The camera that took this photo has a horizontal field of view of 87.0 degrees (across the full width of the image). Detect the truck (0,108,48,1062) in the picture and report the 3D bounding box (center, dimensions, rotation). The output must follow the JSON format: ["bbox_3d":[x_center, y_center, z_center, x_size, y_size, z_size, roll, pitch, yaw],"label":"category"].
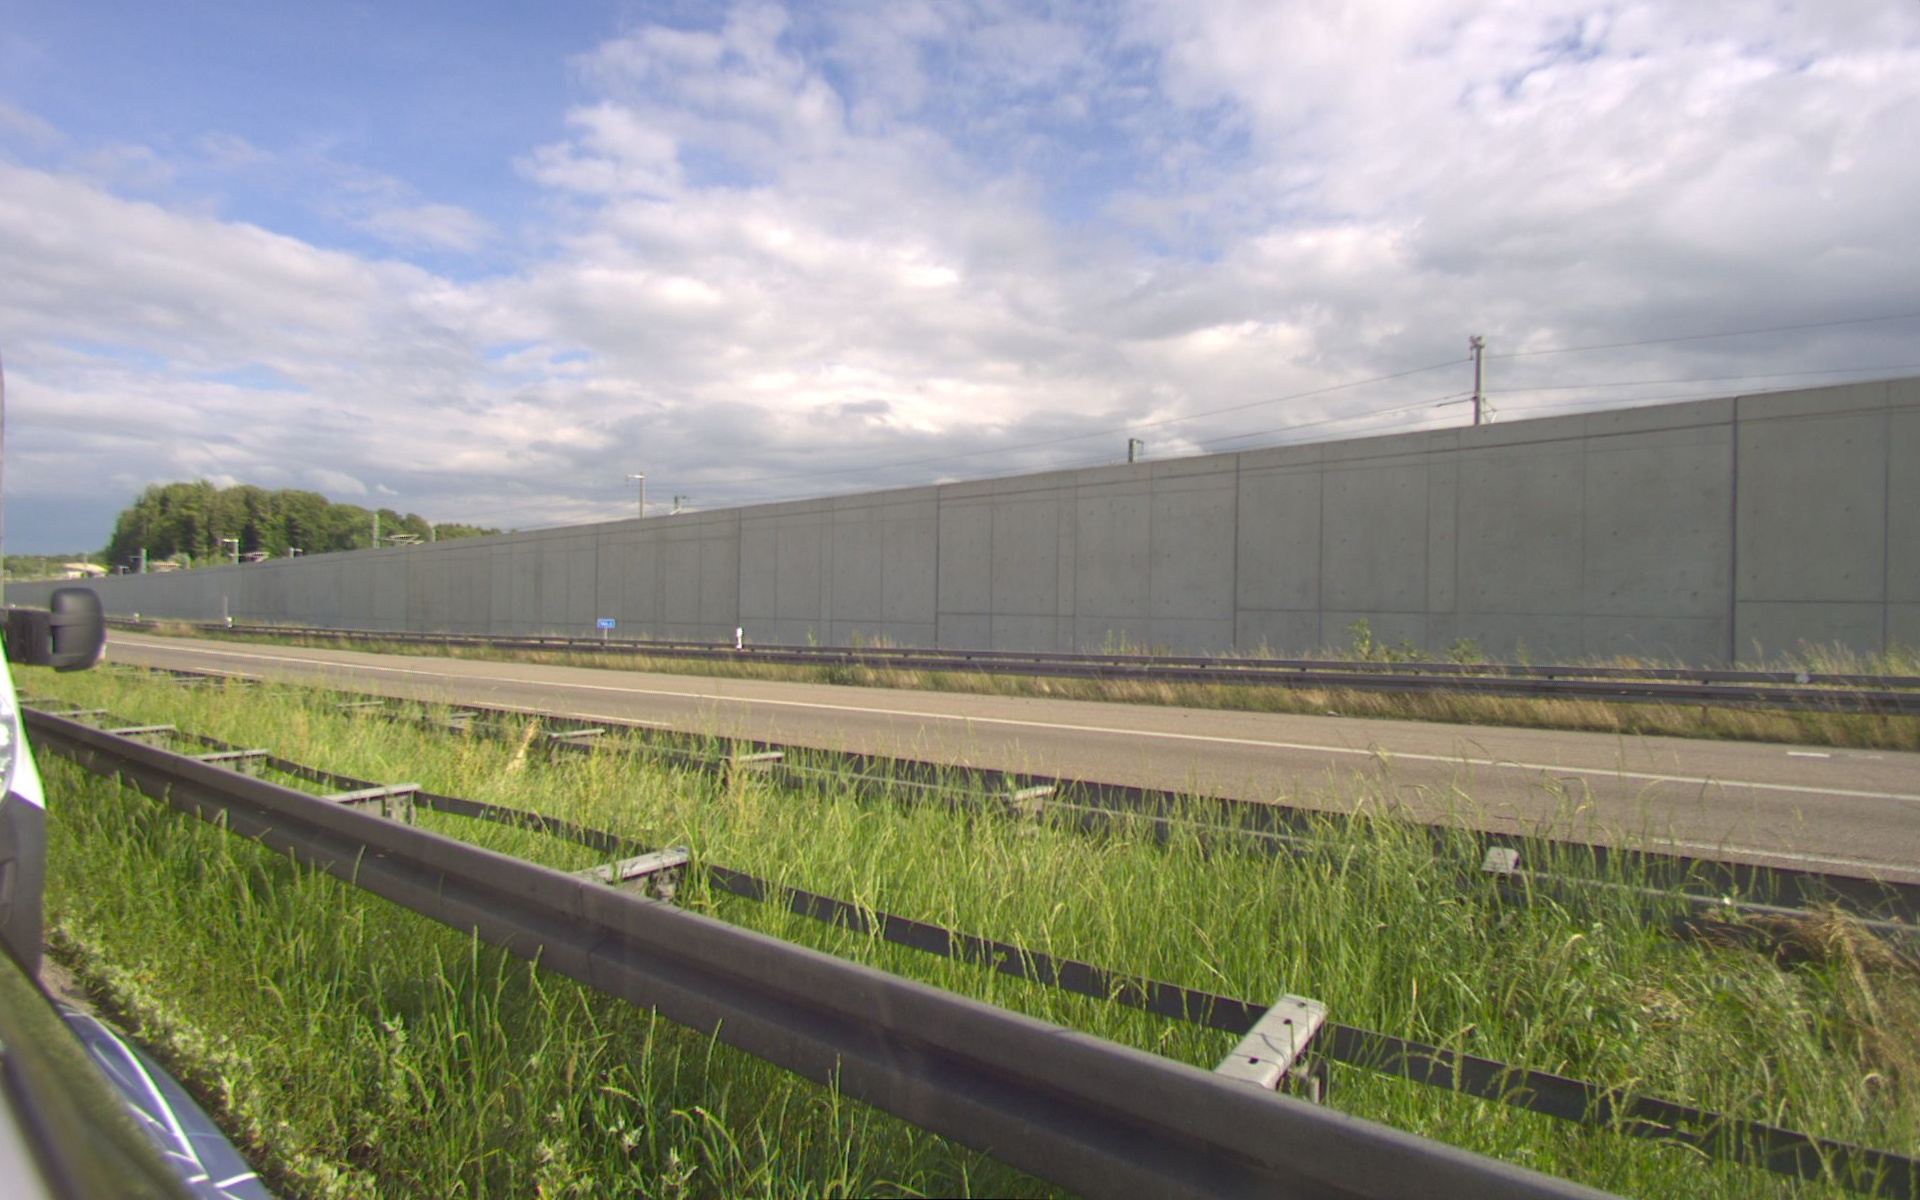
[{"bbox_3d":[-6.664,-0.017,5.208,7.800,3.129,2.033,-1,0,41],"label":"truck"}]
